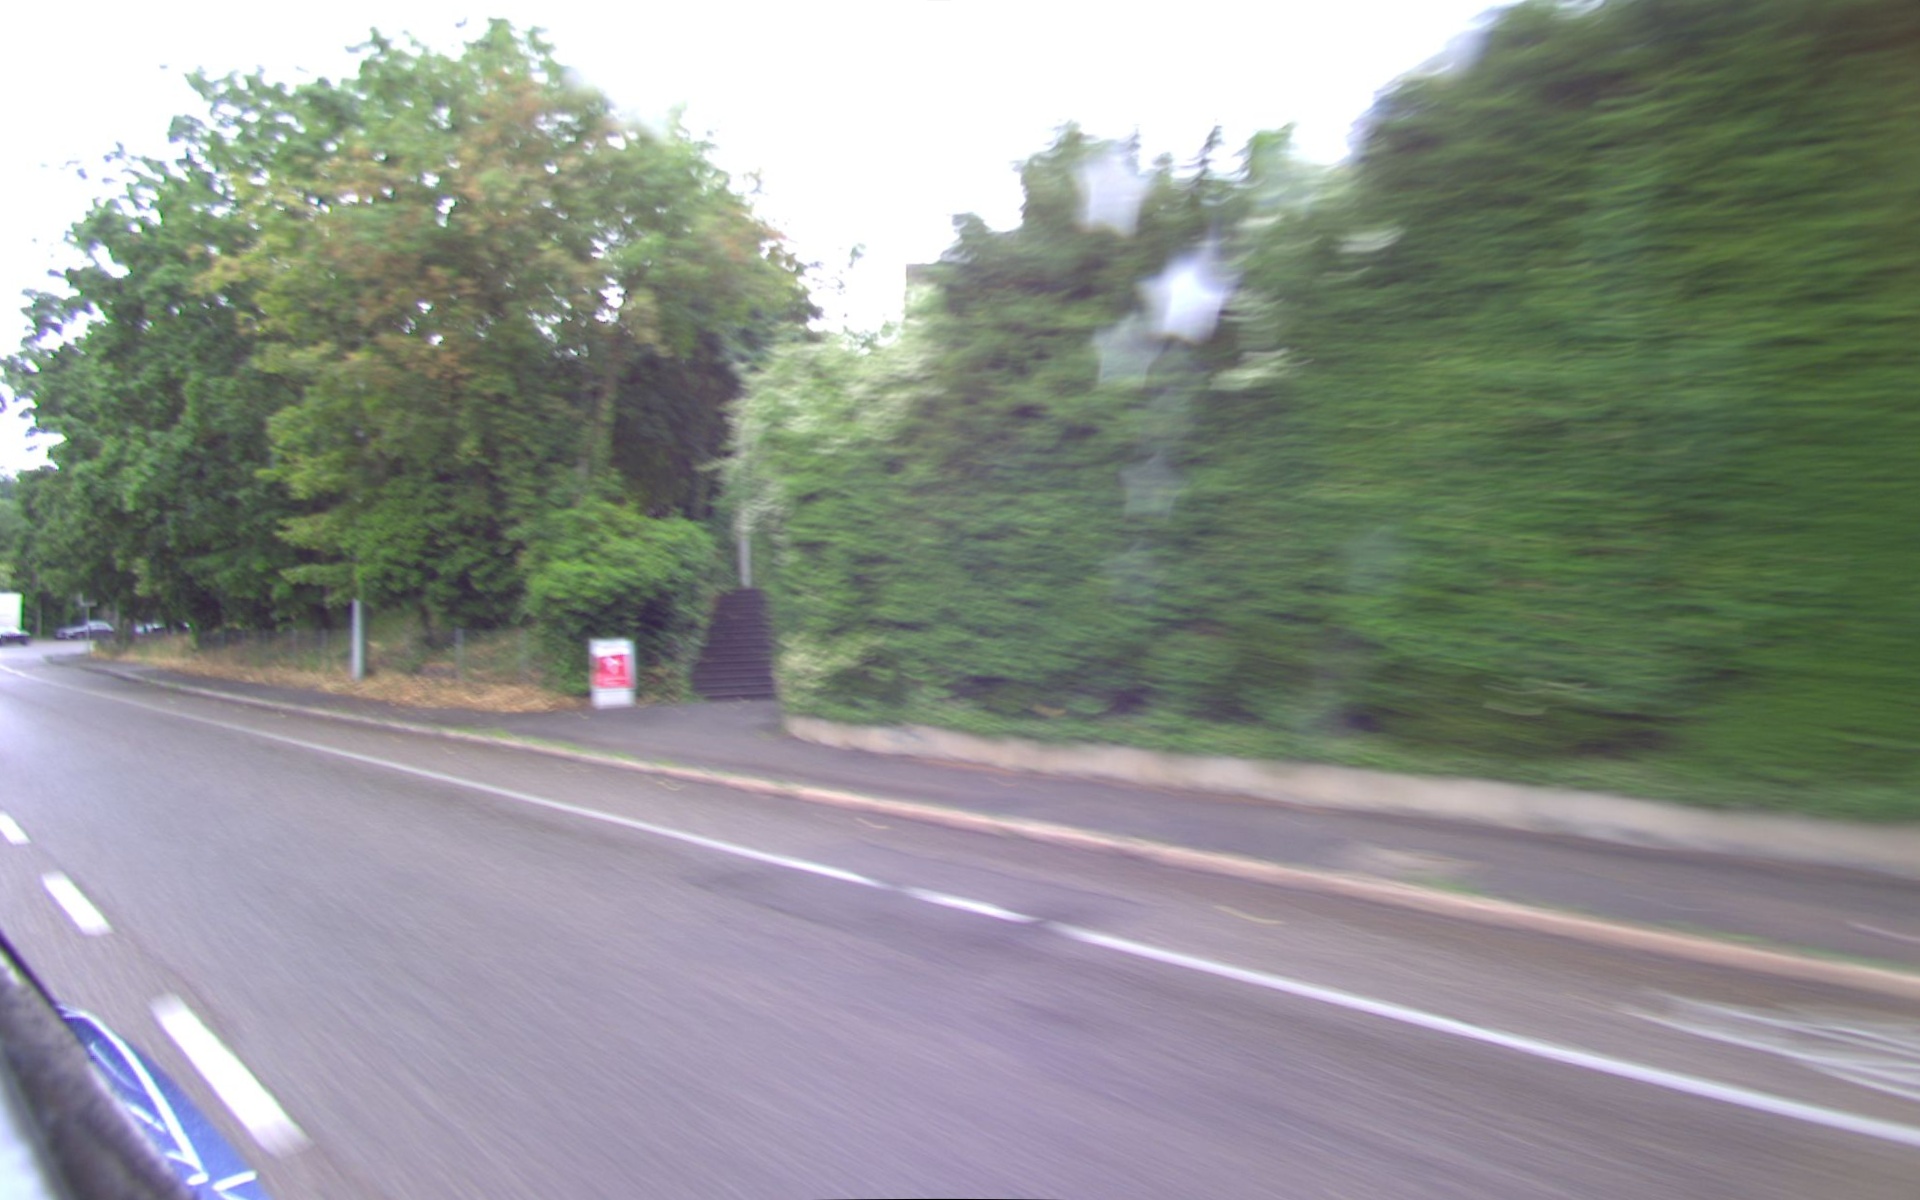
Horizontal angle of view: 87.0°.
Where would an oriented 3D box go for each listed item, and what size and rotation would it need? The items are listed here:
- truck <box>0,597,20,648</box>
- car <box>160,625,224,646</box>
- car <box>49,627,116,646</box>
[{"bbox_3d":[-68.576,1.523,68.746,2.967,3.601,8.355,0,-1,-11],"label":"truck"},{"bbox_3d":[-57.288,2.659,75.572,1.732,1.467,4.048,0,-1,-1],"label":"car"},{"bbox_3d":[-69.478,2.854,80.208,1.703,1.455,4.122,0,-2,2],"label":"car"}]
